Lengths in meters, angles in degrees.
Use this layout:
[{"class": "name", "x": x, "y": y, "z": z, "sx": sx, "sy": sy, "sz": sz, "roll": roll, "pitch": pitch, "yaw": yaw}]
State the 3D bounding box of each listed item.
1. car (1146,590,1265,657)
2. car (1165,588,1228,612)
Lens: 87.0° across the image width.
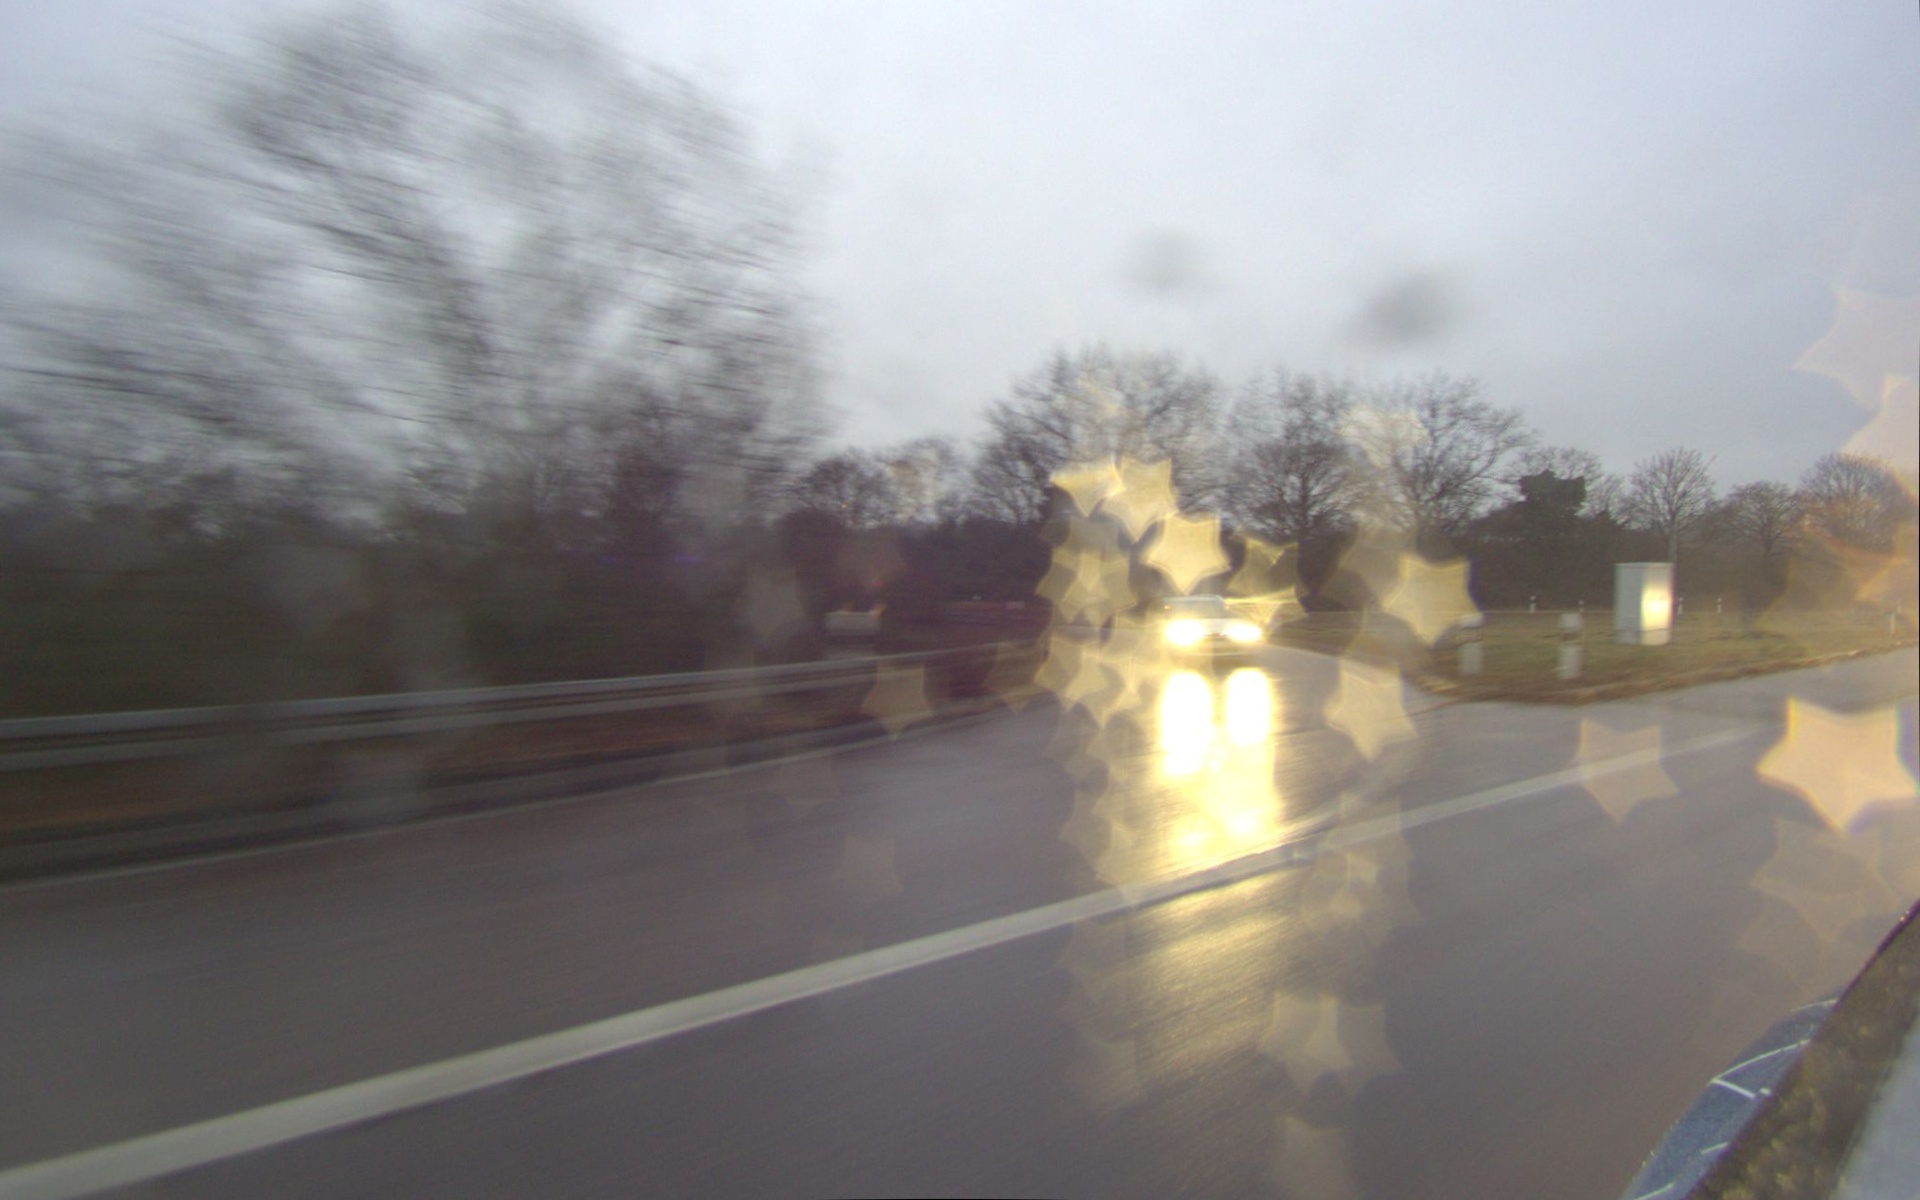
[{"class": "car", "x": 5.531, "y": 0.464, "z": 23.342, "sx": 1.900, "sy": 1.376, "sz": 4.393, "roll": 0, "pitch": 1, "yaw": 3}, {"class": "car", "x": 15.198, "y": -0.038, "z": 65.159, "sx": 3.723, "sy": 1.452, "sz": 1.728, "roll": 1, "pitch": 1, "yaw": 5}]
